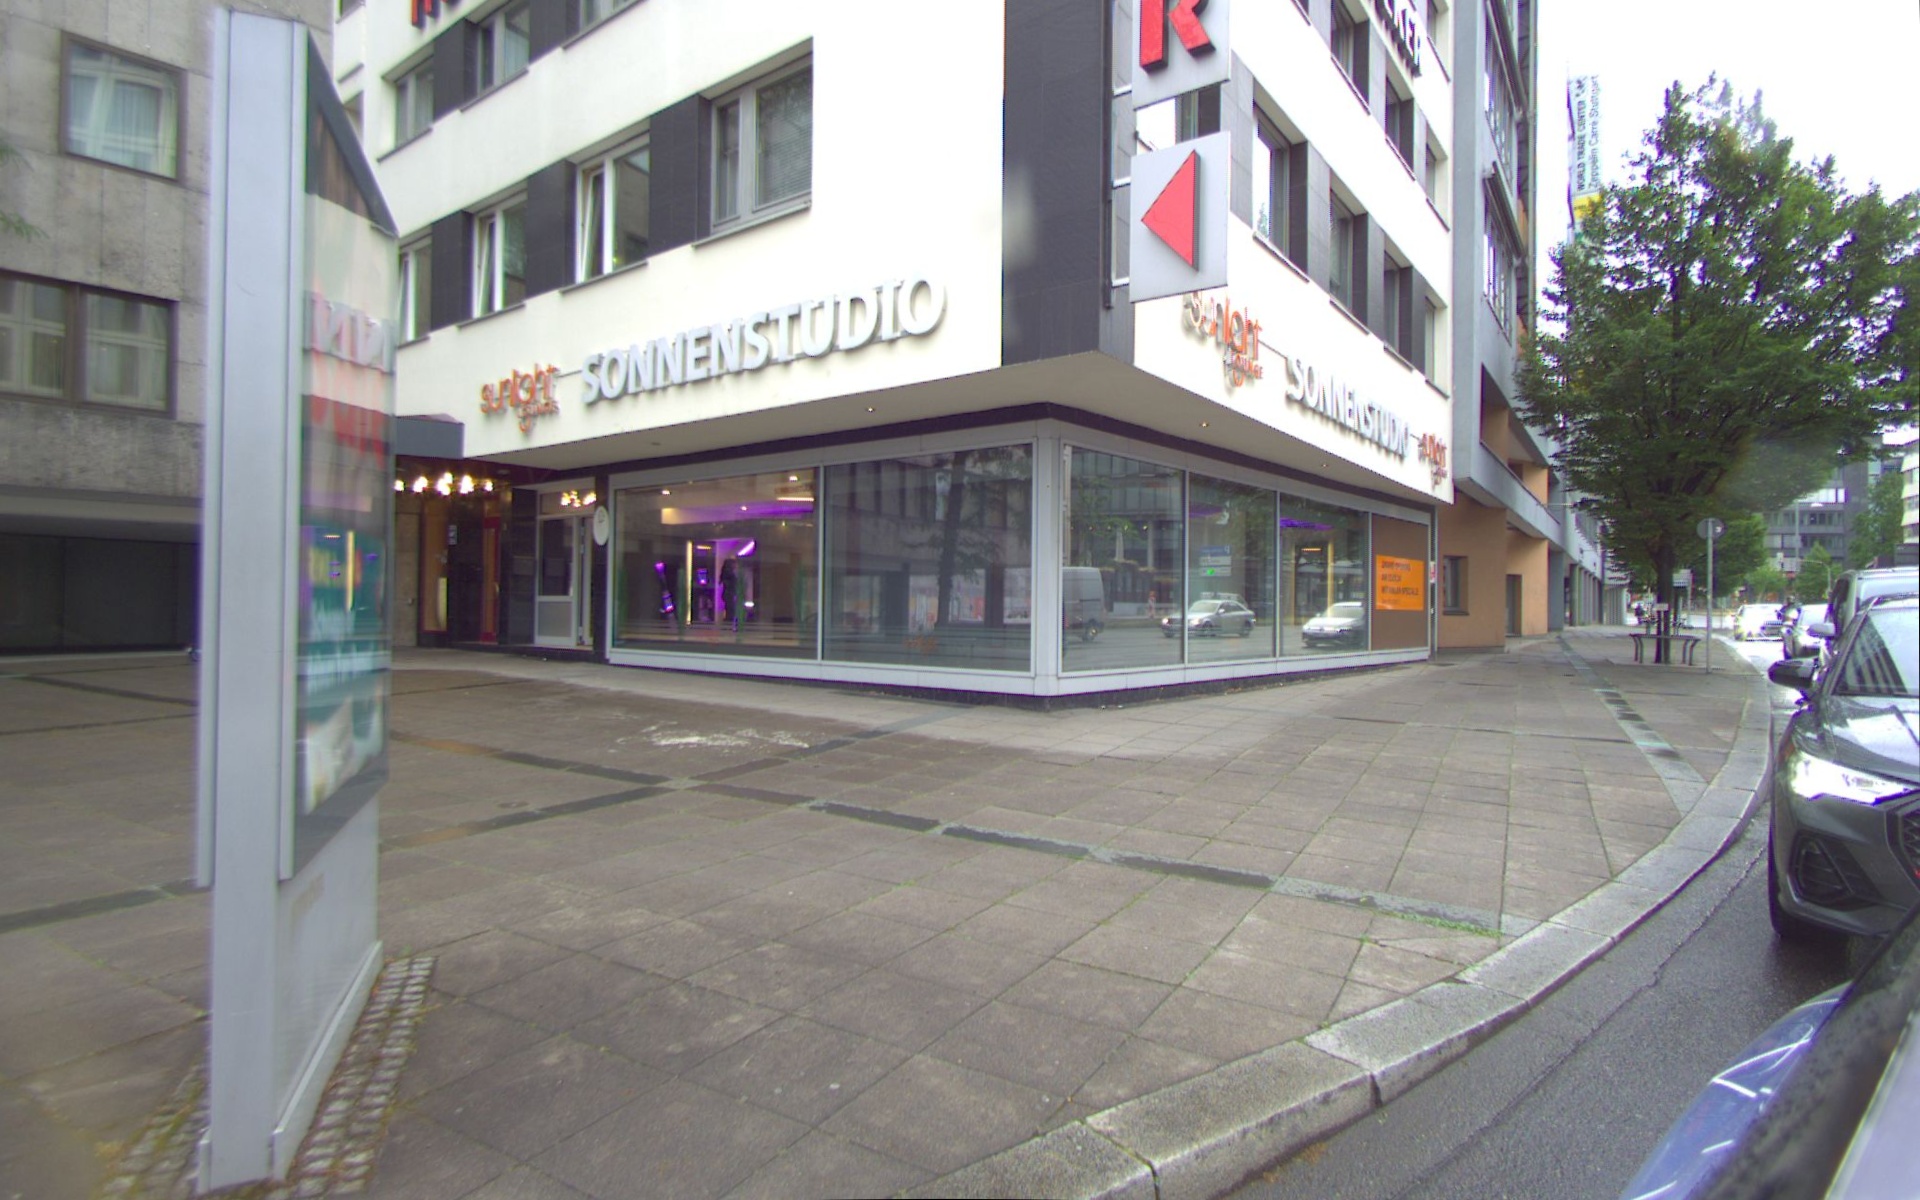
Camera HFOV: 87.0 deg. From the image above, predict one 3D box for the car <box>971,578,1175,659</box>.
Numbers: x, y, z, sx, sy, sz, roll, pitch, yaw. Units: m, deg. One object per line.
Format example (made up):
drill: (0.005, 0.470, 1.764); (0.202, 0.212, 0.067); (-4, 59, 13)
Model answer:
car: (2.634, 0.352, 22.738); (1.994, 1.629, 4.849); (-2, 0, 44)

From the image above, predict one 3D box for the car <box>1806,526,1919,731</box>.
car: (10.799, 0.223, 11.095); (2.053, 1.916, 4.971); (-2, 0, 43)

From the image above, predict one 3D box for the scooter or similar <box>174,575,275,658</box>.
scooter or similar: (-11.754, 0.246, 16.195); (0.562, 1.269, 1.215); (1, 1, 37)

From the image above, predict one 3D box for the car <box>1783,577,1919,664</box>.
car: (21.788, 0.443, 24.849); (2.047, 1.916, 4.986); (-2, 0, 35)

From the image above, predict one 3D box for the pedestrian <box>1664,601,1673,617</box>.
pedestrian: (72.564, 0.927, 103.640); (0.648, 1.618, 1.047); (-2, -1, 30)

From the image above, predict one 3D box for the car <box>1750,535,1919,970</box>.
car: (5.272, 0.509, 4.897); (1.797, 1.572, 4.318); (-2, 0, 44)

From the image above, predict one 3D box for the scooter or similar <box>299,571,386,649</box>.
scooter or similar: (-11.056, 0.173, 18.147); (0.516, 1.354, 1.215); (-2, -1, 37)

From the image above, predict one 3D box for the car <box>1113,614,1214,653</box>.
car: (7.626, 1.254, 37.965); (3.366, 1.347, 1.548); (-1, 0, 34)

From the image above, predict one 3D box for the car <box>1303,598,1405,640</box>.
car: (12.899, 0.600, 33.020); (1.716, 1.209, 3.937); (-2, 0, 44)
